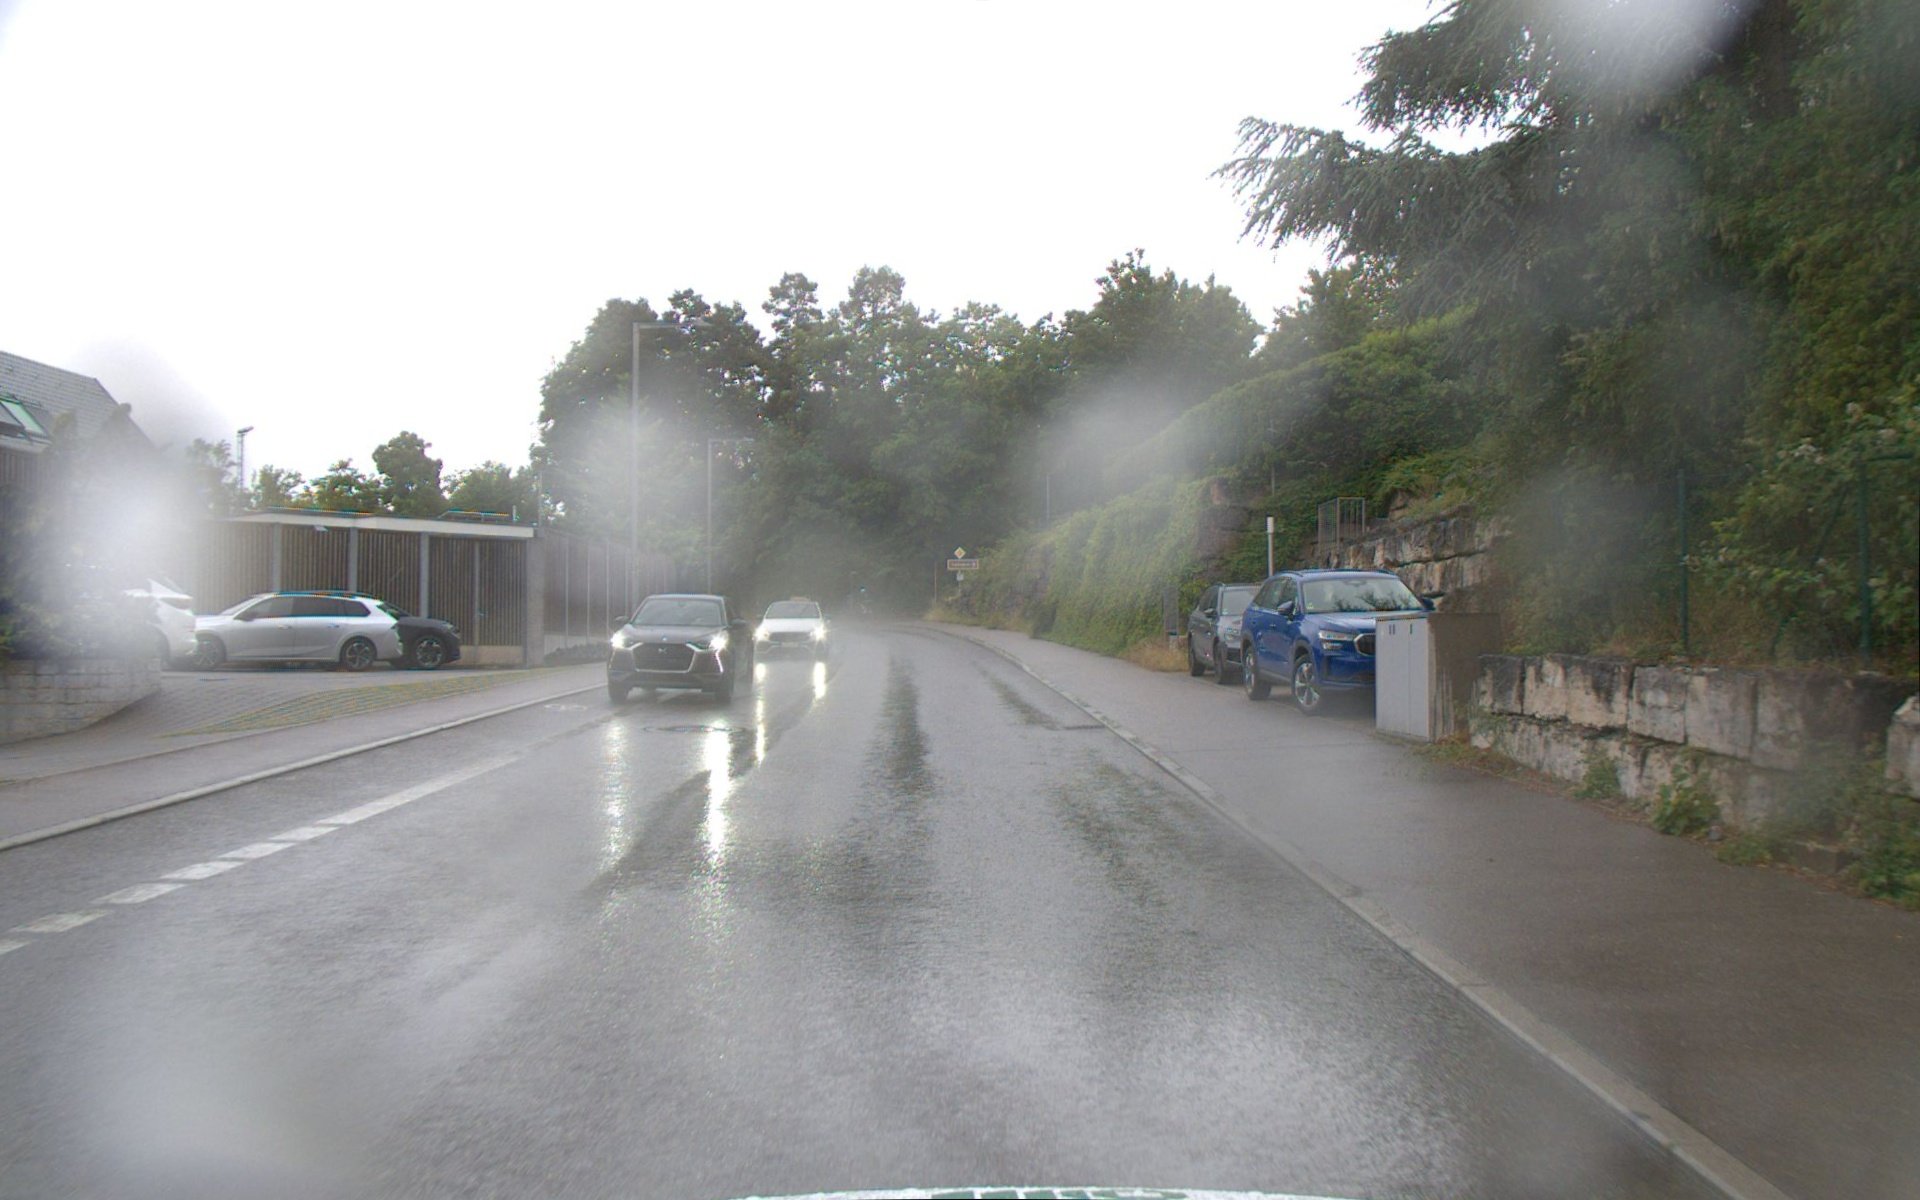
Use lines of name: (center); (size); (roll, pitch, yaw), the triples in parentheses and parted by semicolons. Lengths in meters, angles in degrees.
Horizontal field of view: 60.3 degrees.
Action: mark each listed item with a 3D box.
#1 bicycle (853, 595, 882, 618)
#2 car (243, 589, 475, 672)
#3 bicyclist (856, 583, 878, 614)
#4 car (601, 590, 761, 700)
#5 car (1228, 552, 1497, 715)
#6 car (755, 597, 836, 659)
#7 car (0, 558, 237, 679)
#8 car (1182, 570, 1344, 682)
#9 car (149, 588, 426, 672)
bicycle: (-5.063, 0.345, 90.163); (1.590, 1.103, 0.527); (5, 4, 38)
car: (-12.514, 0.614, 34.533); (4.246, 1.629, 1.814); (1, 0, -36)
bicyclist: (-5.079, -0.089, 90.182); (0.888, 1.642, 0.720); (6, 4, 37)
car: (-4.079, 0.615, 24.718); (1.813, 1.495, 3.698); (1, 0, -1)
car: (4.823, 0.369, 20.543); (1.954, 1.699, 4.541); (-3, 0, -3)
car: (-4.209, 0.689, 42.851); (1.810, 1.486, 4.266); (1, 0, -2)
car: (-12.621, 0.246, 23.388); (4.022, 1.601, 1.913); (1, 0, -41)
car: (4.803, 0.391, 26.775); (1.773, 1.590, 4.009); (-3, 0, -1)
car: (-12.525, 0.575, 30.986); (4.492, 1.467, 1.735); (2, -1, -41)
